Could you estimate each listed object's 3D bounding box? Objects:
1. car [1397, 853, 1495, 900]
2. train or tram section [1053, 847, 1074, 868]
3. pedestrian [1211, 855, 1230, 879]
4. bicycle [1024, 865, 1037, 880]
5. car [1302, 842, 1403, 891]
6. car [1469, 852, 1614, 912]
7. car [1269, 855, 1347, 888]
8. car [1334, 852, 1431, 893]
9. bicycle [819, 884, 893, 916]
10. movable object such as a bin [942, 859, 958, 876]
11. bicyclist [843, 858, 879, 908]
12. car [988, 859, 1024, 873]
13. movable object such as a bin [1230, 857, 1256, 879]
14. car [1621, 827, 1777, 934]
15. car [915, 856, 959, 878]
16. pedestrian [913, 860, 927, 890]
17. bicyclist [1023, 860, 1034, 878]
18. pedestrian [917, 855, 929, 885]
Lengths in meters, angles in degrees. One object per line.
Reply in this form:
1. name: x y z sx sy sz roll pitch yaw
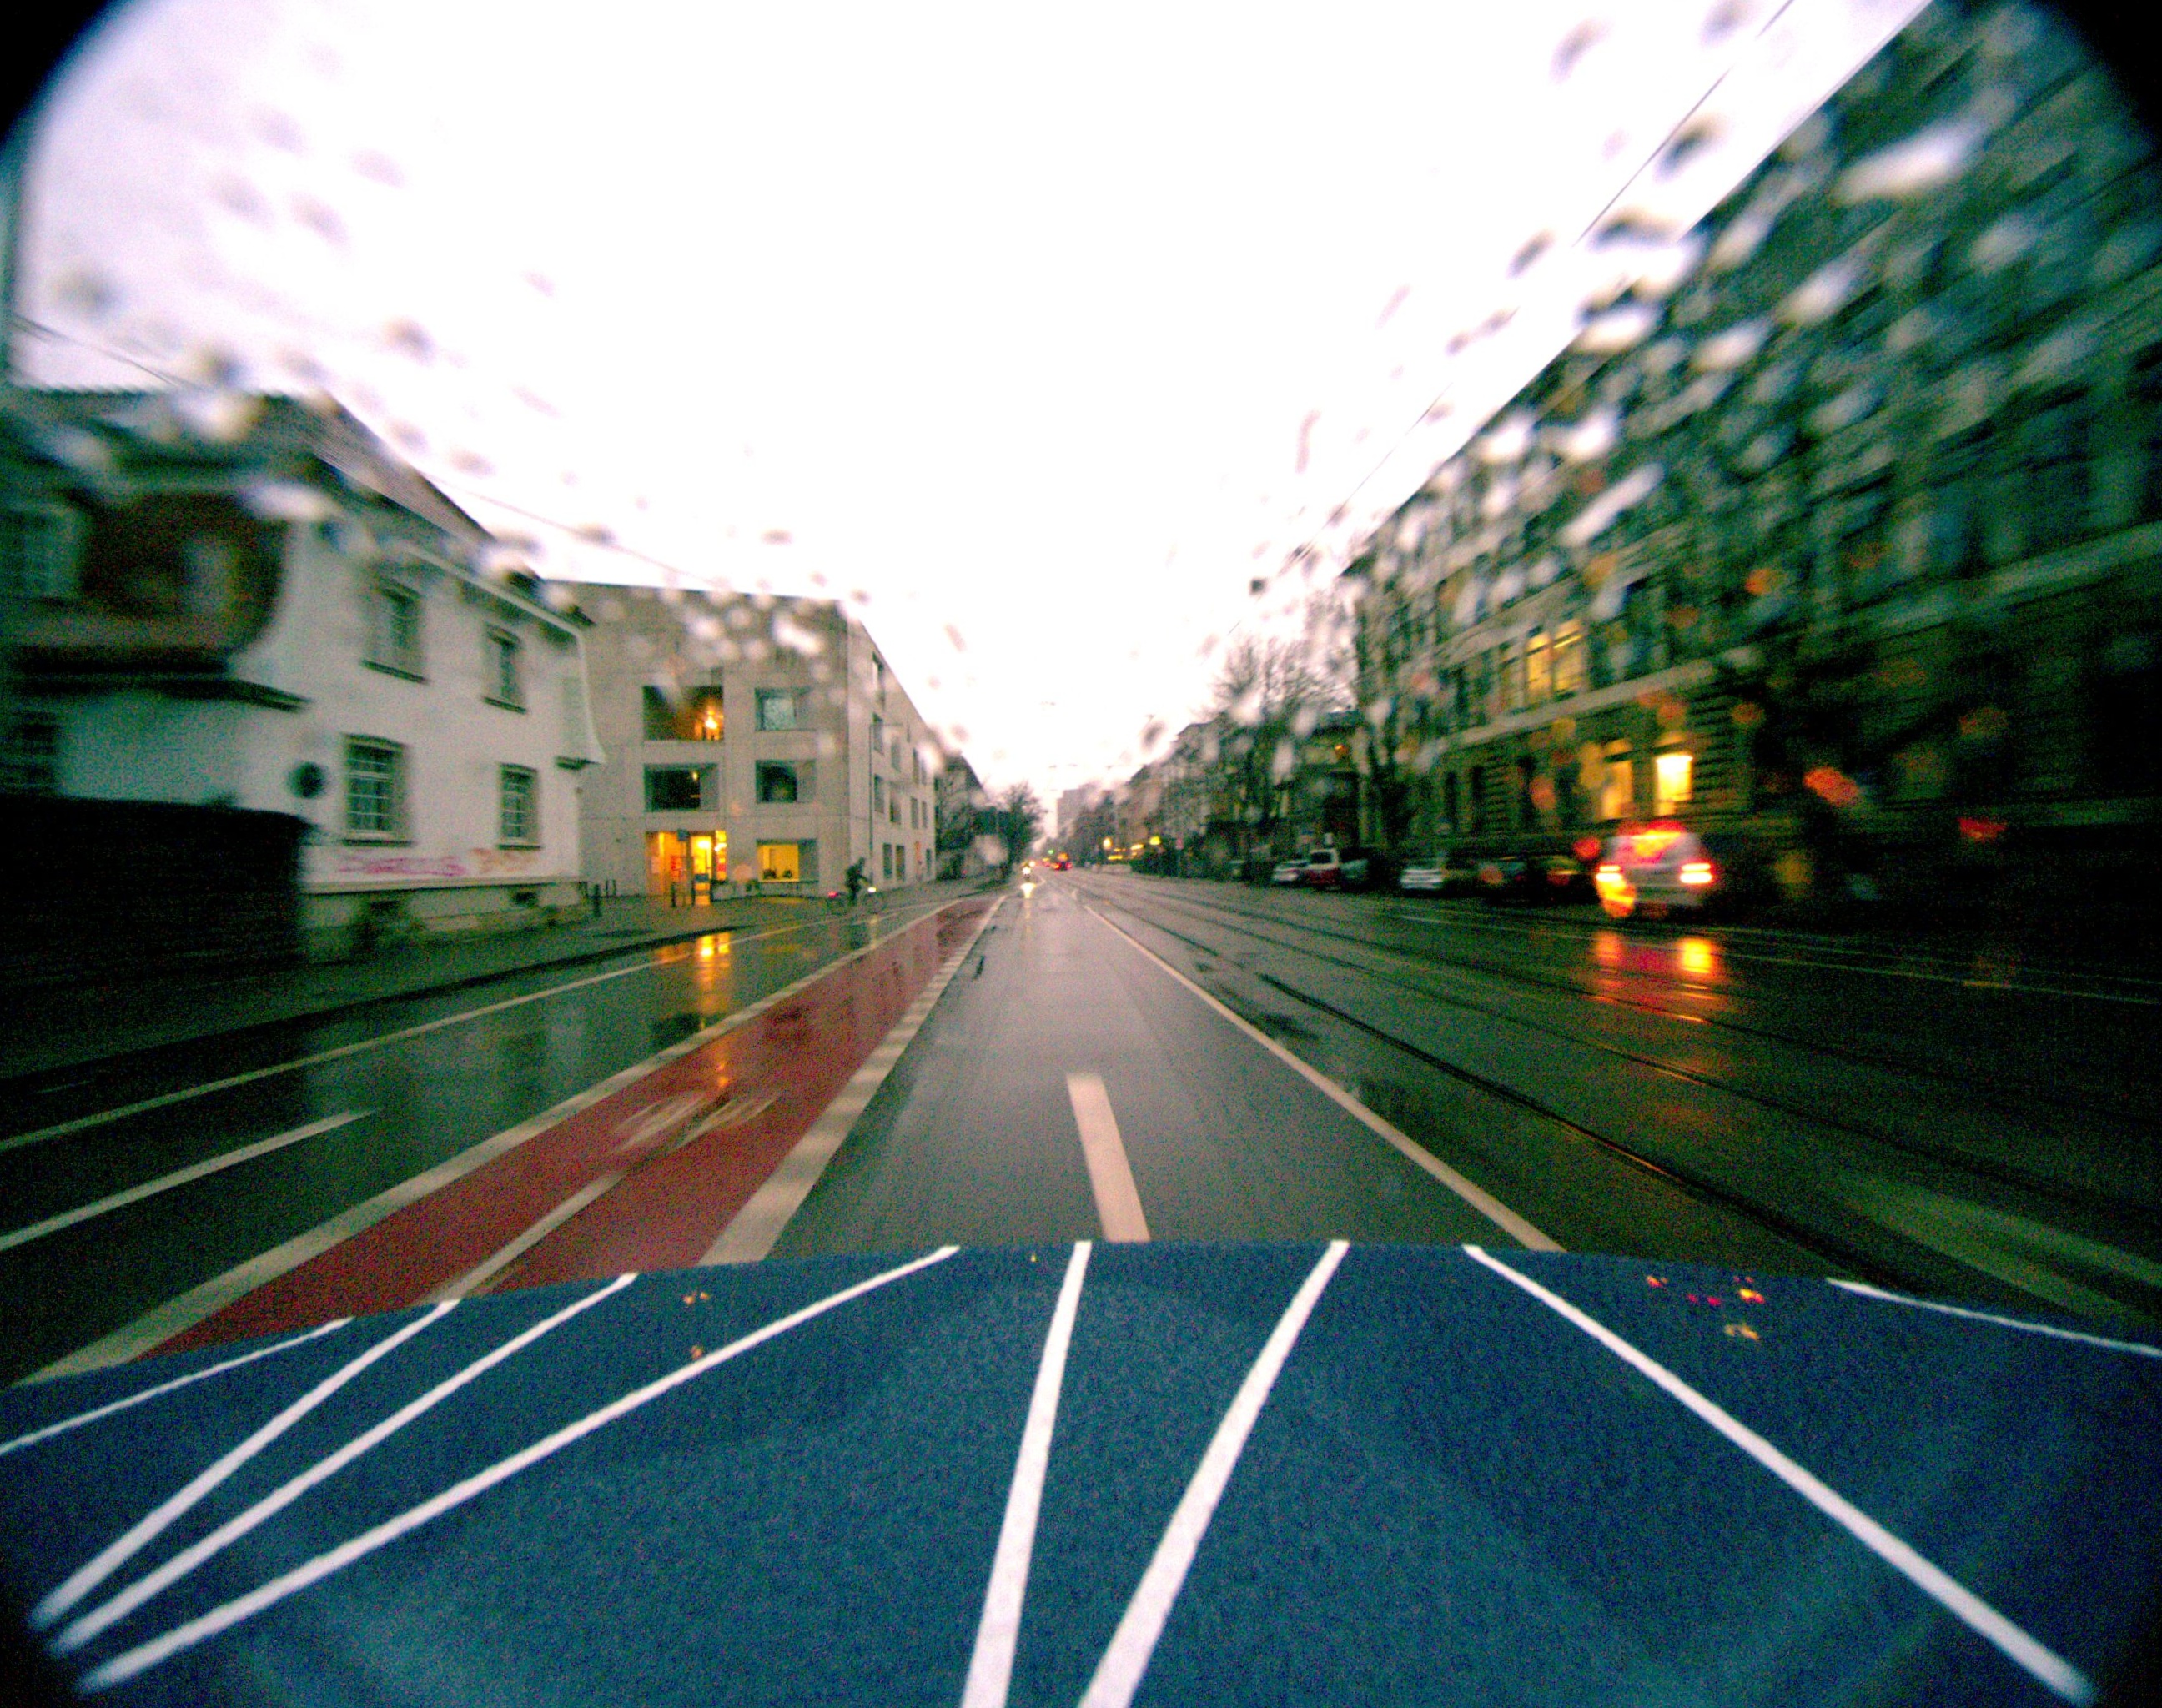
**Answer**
1. car: 13.682 0.822 28.414 3.833 1.449 1.633 -4 1 -37
2. train or tram section: -3.670 0.632 153.344 2.886 3.715 27.323 -3 0 -4
3. pedestrian: 10.034 0.940 54.698 0.925 1.693 0.946 -4 1 -26
4. bicycle: -3.911 1.430 59.011 0.723 1.083 2.286 -2 -1 4
5. car: 13.042 0.575 36.463 4.629 2.041 1.962 -4 1 -31
6. car: 14.098 0.815 23.192 4.483 1.449 1.796 -4 0 -30
7. car: 12.679 0.961 42.356 4.191 1.581 1.771 -4 1 -33
8. car: 13.245 0.785 33.333 3.982 1.530 1.820 -4 1 -31
9. bicycle: -7.401 1.514 25.062 2.121 0.938 0.944 -2 1 0
10. movable object such as a bin: -11.448 1.213 66.420 1.260 1.437 1.418 -1 0 -3
11. bicyclist: -7.224 0.936 24.973 0.856 1.586 0.781 -2 1 1
12. car: -9.122 1.443 92.453 3.860 1.421 1.860 -3 0 -20
13. movable object such as a bin: 11.464 0.978 53.776 0.988 1.456 1.341 -4 1 -41
14. car: 14.274 0.502 17.434 4.812 2.022 1.908 -4 1 -41
15. car: -12.581 1.135 66.495 3.459 1.637 1.731 -3 1 -4
16. pedestrian: -10.126 1.291 47.789 0.773 1.847 0.718 0 1 -2
17. bicyclist: -4.061 1.152 58.950 0.716 1.335 0.719 -3 1 3
18. pedestrian: -9.940 1.008 47.820 0.657 1.849 0.659 0 1 -2
